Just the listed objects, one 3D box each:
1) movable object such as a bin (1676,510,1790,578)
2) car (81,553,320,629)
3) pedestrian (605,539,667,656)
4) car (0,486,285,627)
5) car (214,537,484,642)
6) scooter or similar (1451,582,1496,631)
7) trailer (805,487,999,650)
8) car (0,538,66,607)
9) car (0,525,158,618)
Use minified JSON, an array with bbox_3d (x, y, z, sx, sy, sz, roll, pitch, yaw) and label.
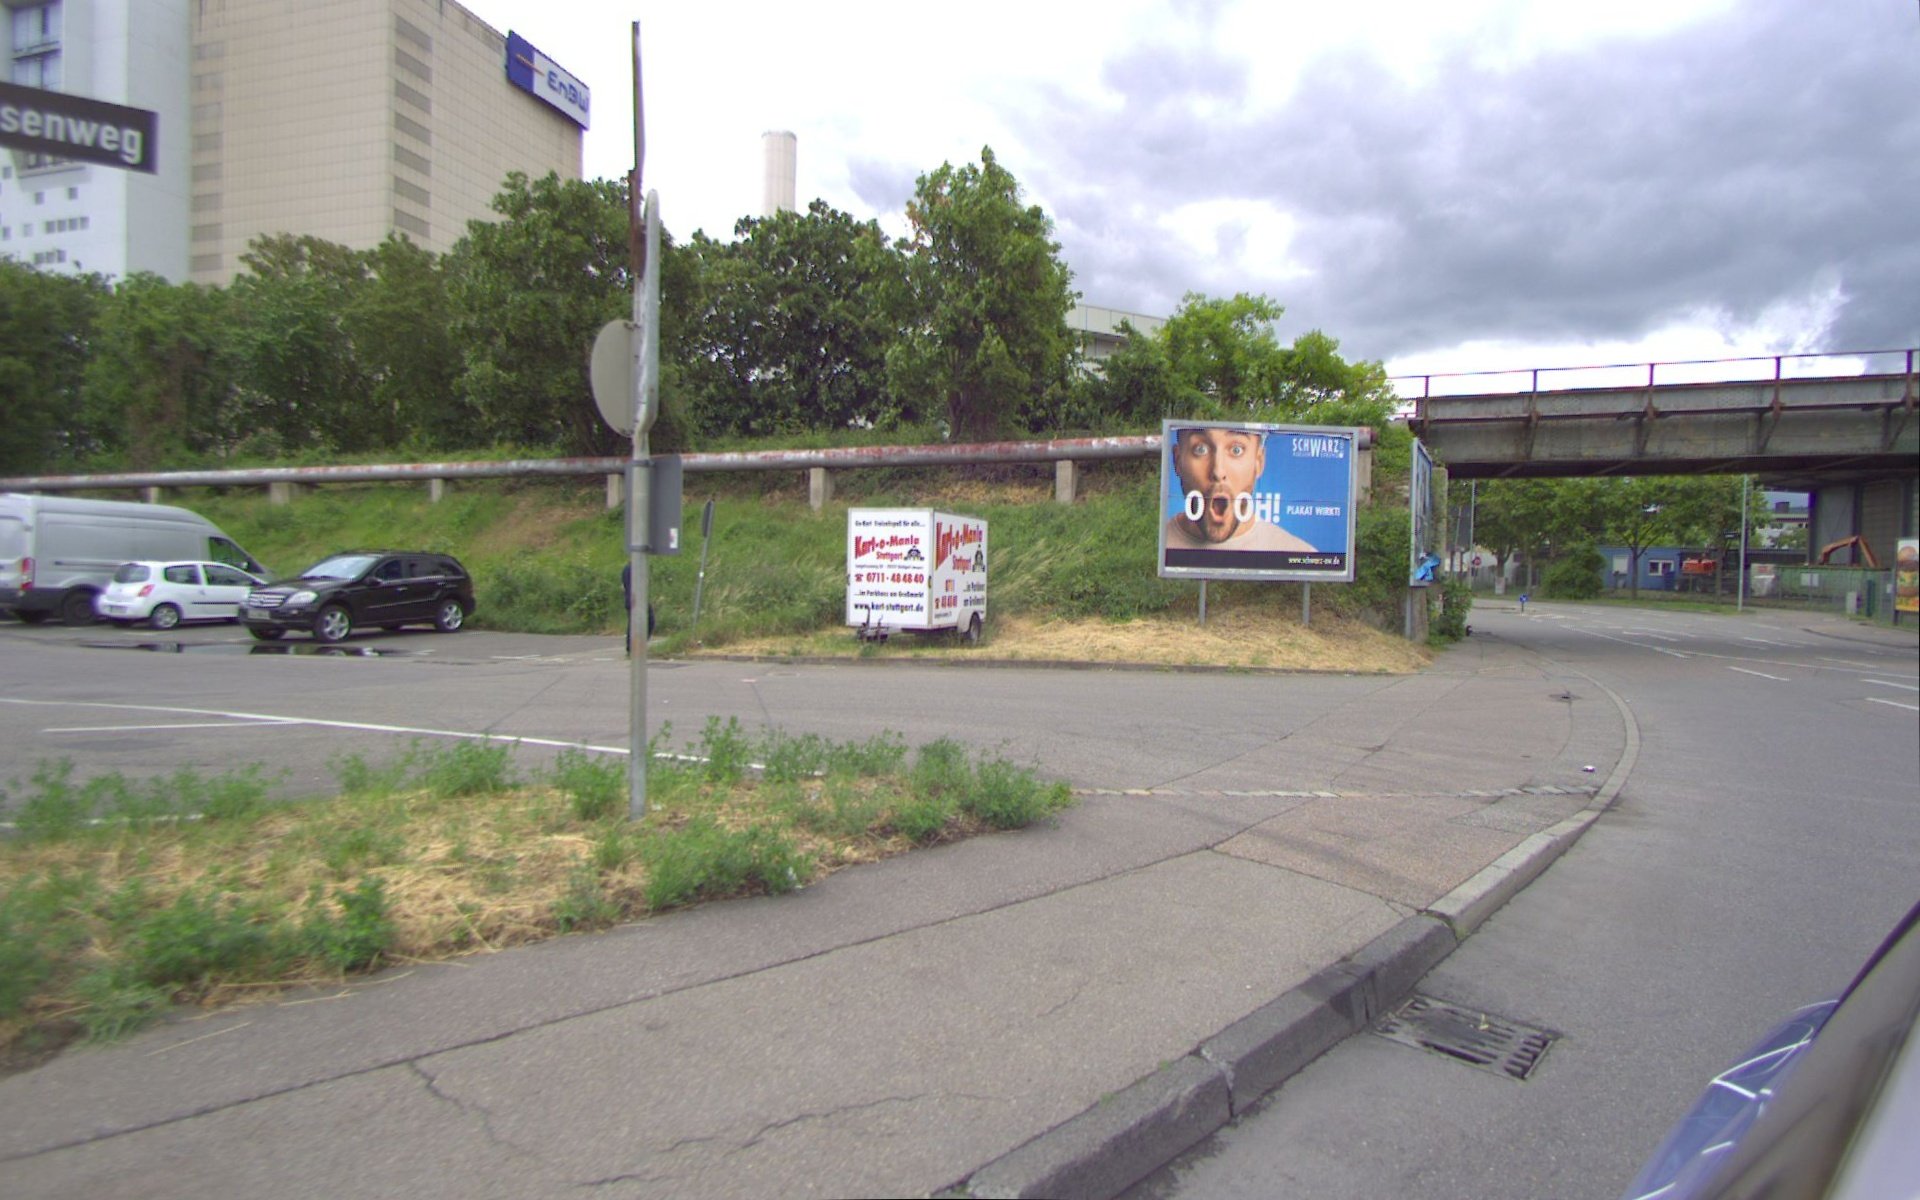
[{"bbox_3d":[49.988,-3.575,65.718,2.687,4.141,6.543,2,2,6],"label":"movable object such as a bin"},{"bbox_3d":[-16.977,-0.264,22.855,1.846,1.526,3.975,1,2,20],"label":"car"},{"bbox_3d":[-5.271,-0.051,16.454,0.693,1.843,0.689,1,2,33],"label":"pedestrian"},{"bbox_3d":[-19.101,-0.980,23.341,1.999,2.812,5.863,1,2,20],"label":"car"},{"bbox_3d":[-12.299,-0.280,20.795,1.974,1.905,4.628,1,2,18],"label":"car"},{"bbox_3d":[14.281,0.163,28.185,0.497,1.251,1.667,5,3,7],"label":"scooter or similar"},{"bbox_3d":[-0.830,-0.549,17.479,1.787,2.427,4.387,1,2,20],"label":"trailer"},{"bbox_3d":[-26.202,-0.729,26.355,1.974,1.816,3.976,1,1,19],"label":"car"},{"bbox_3d":[-21.826,-0.708,24.022,1.975,2.075,3.976,2,2,19],"label":"car"}]
